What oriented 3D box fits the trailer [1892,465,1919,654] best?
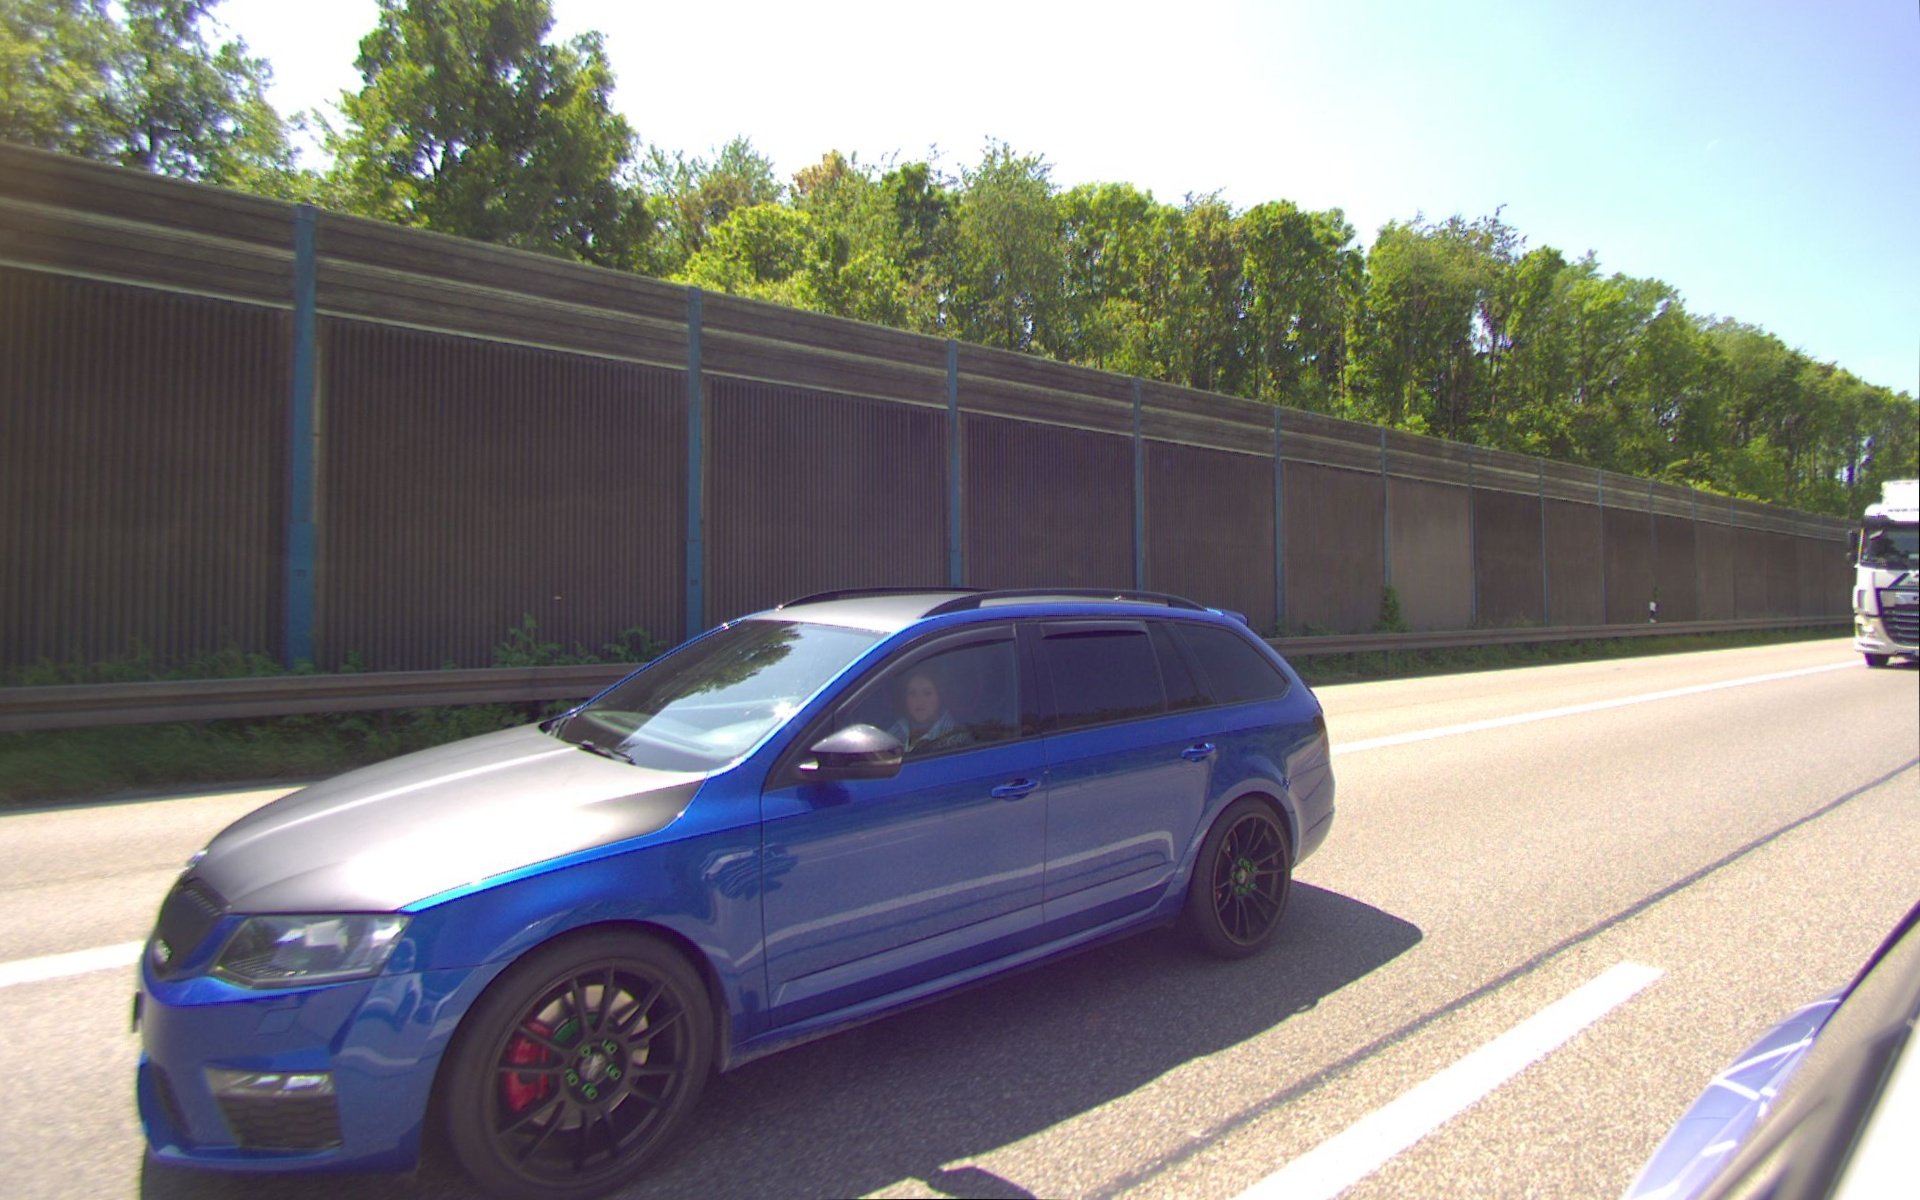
[{"bbox_3d":[27.338,-0.886,25.991,12.997,4.258,2.793,0,0,-37],"label":"trailer"}]

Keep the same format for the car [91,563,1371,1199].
[{"bbox_3d":[-0.354,0.625,3.860,4.401,1.501,1.654,-2,2,-39],"label":"car"}]

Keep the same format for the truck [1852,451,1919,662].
[{"bbox_3d":[21.832,-0.865,21.845,5.760,4.258,2.793,0,0,-37],"label":"truck"}]
